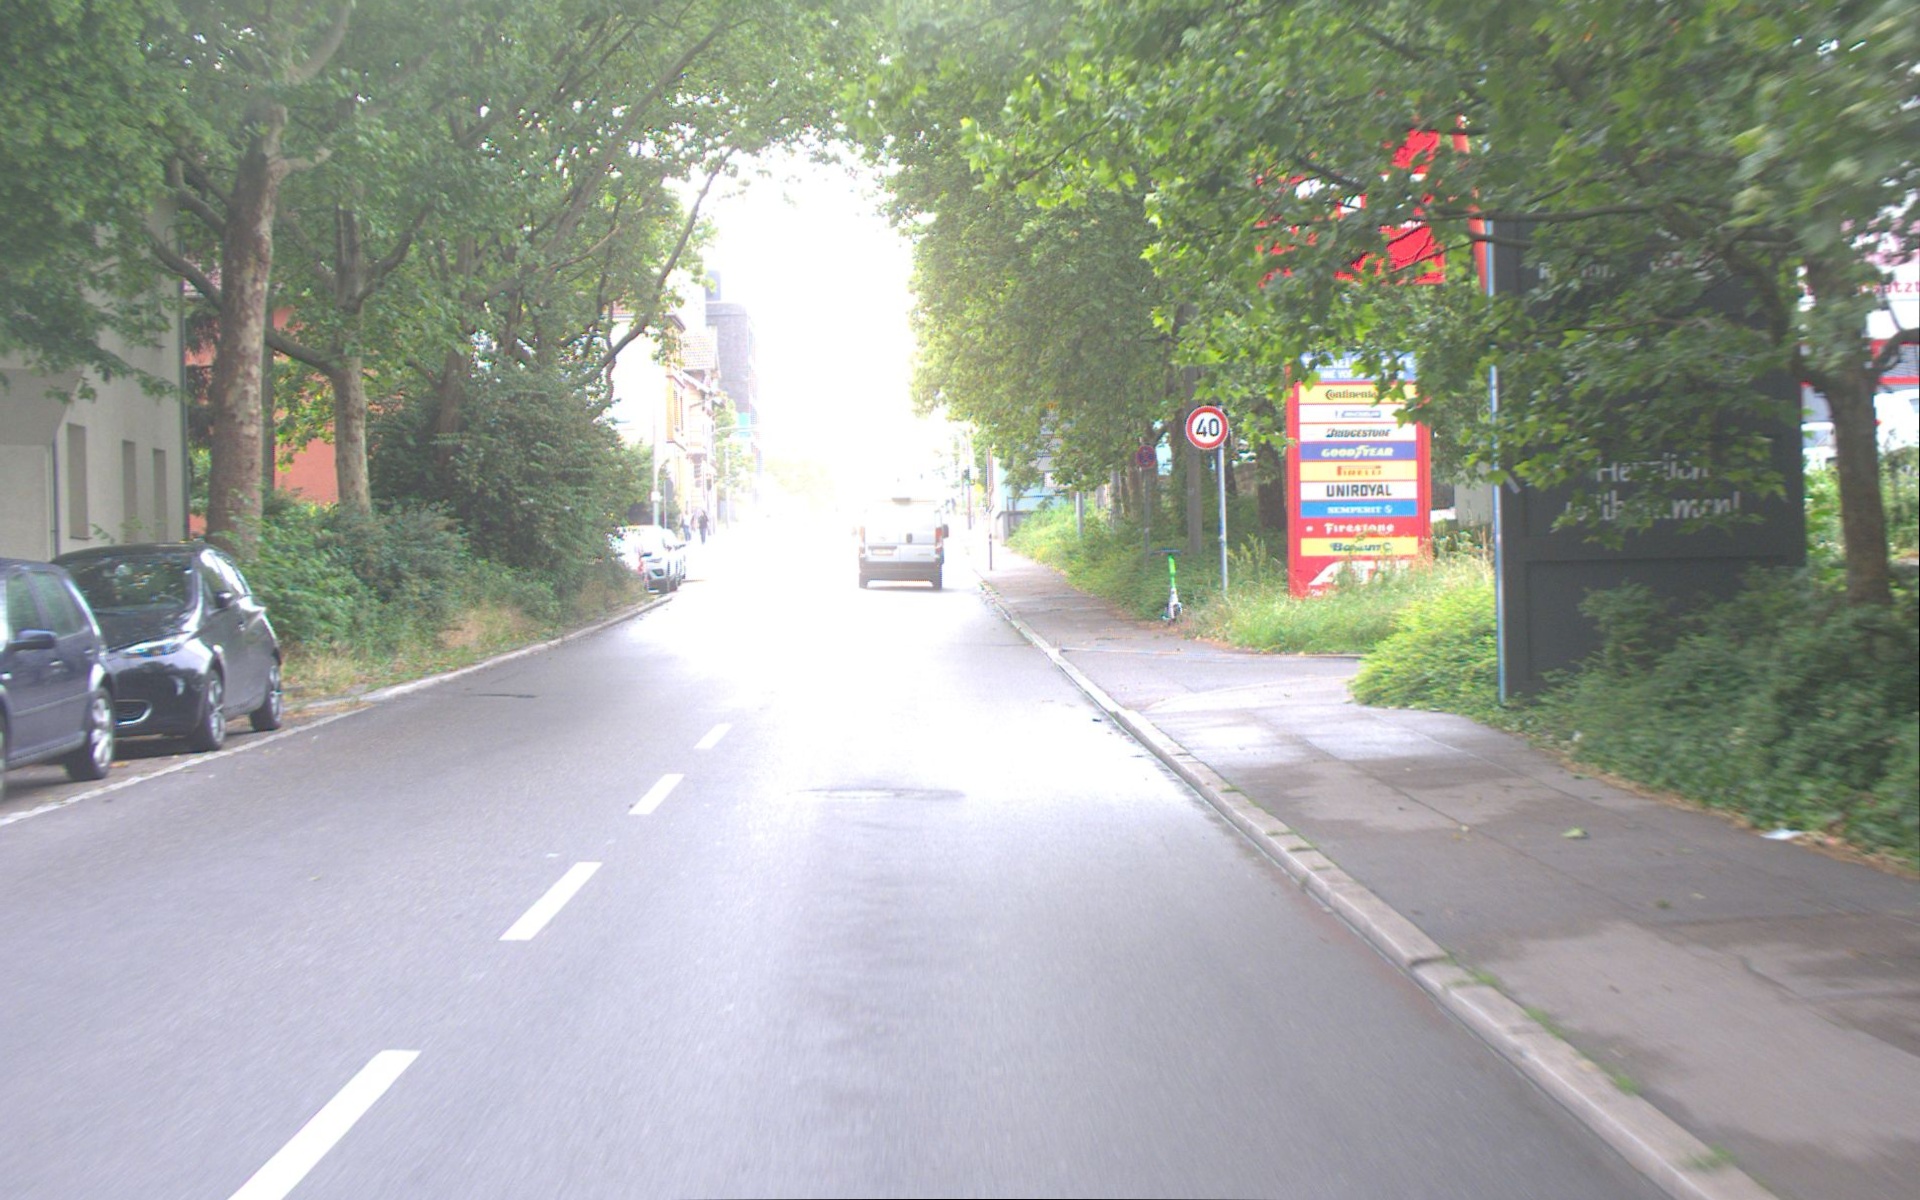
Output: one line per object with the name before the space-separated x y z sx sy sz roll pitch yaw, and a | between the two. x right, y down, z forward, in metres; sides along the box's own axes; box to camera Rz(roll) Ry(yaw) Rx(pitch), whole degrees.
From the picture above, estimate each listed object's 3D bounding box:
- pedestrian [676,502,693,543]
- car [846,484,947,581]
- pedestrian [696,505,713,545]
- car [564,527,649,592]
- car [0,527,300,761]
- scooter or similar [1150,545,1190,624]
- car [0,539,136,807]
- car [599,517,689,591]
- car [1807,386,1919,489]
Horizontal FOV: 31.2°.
pedestrian | -13.636 -3.846 170.218 0.671 2.007 0.941 0 1 3
car | -1.507 -1.613 83.483 2.336 2.223 4.000 -2 0 0
pedestrian | -12.665 -3.722 170.442 0.671 2.007 0.941 0 1 3
car | -7.704 -0.898 75.186 1.638 1.369 3.760 0 1 -3
car | -6.229 0.284 26.076 1.647 1.532 4.019 -5 1 -1
scooter or similar | 3.128 -0.219 51.258 0.425 1.138 1.529 1 -1 -3
car | -6.261 0.426 20.587 1.672 1.503 3.874 -3 1 0
car | -7.385 -1.105 80.688 1.691 1.536 4.118 -3 2 0
car | 14.143 -2.256 48.117 4.100 1.371 1.903 0 1 0
